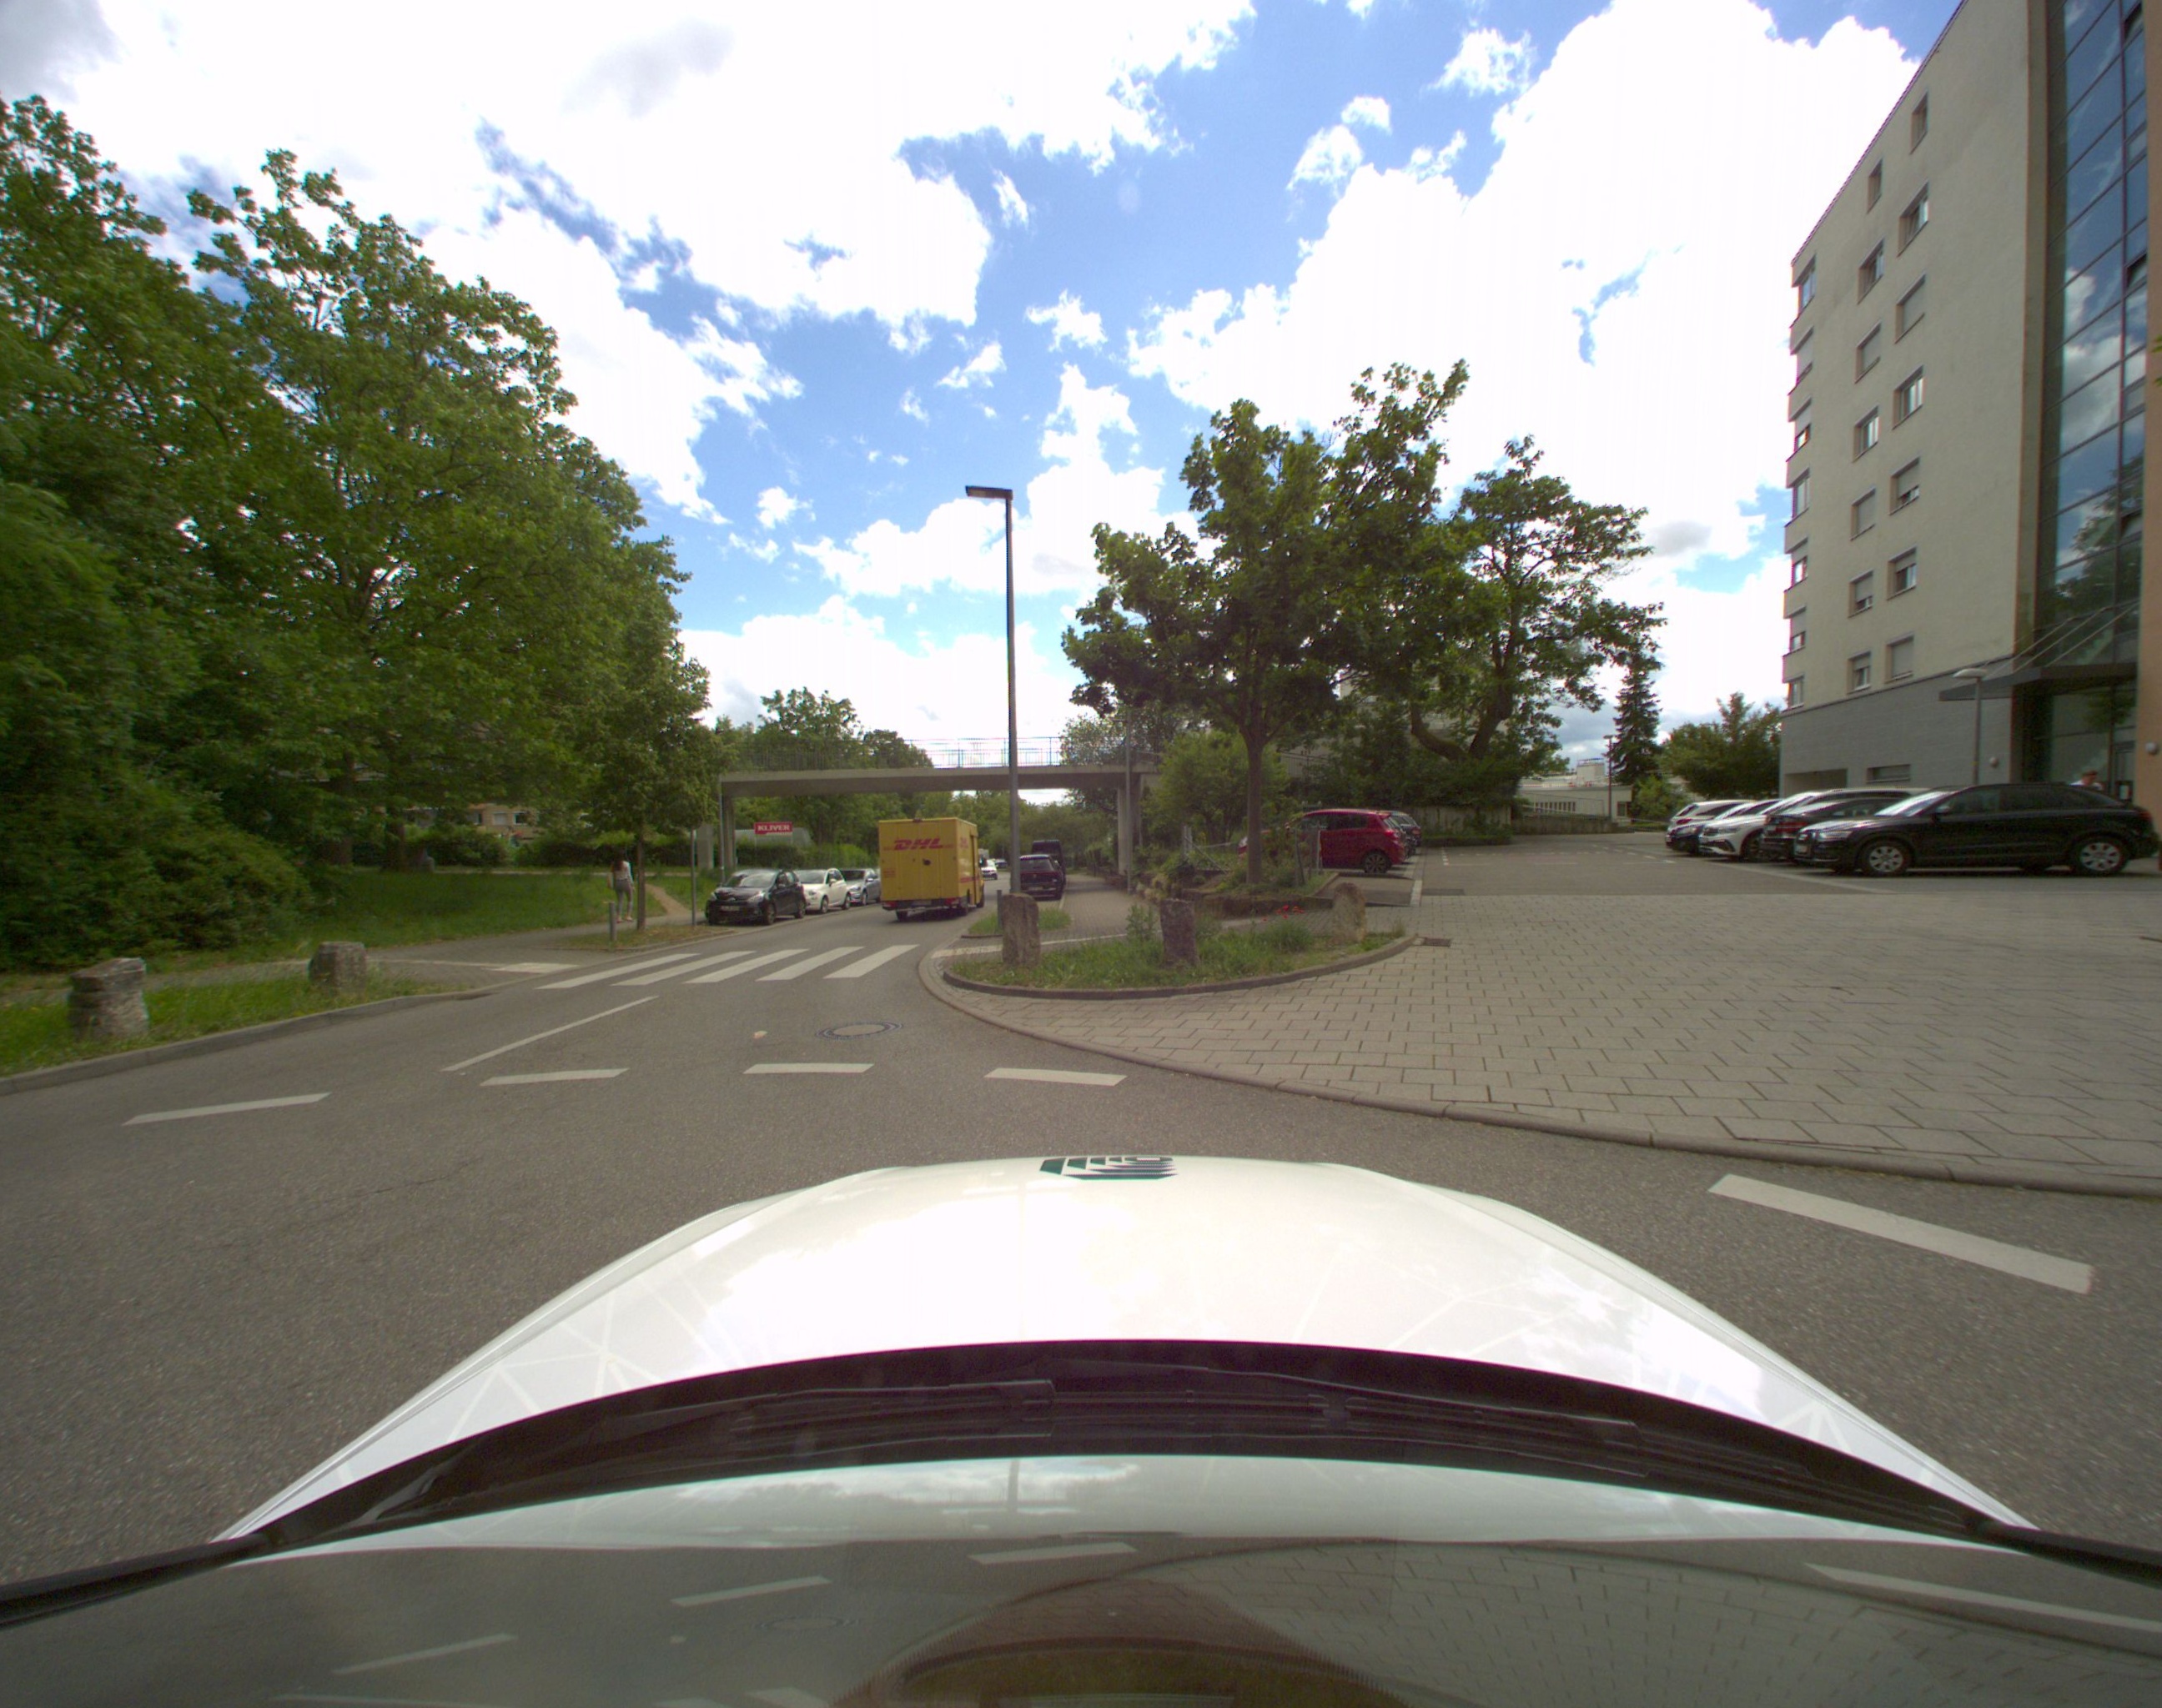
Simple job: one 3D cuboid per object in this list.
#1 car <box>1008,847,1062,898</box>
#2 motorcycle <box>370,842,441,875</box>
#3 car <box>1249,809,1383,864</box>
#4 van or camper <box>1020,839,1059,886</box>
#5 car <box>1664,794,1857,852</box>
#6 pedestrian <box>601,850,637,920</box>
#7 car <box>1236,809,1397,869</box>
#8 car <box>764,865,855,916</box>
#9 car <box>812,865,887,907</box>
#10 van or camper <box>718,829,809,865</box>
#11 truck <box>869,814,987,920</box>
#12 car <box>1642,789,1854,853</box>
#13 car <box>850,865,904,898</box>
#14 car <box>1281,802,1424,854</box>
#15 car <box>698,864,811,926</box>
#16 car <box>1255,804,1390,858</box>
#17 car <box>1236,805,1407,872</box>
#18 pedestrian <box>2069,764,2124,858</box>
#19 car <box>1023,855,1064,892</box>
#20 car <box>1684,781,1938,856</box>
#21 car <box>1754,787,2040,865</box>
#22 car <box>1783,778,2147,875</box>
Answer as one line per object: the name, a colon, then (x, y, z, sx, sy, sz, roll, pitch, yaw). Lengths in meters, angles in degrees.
car: (-1.702, 0.763, 30.433, 1.809, 1.679, 4.364, -2, -3, -3)
motorcycle: (-27.321, 0.173, 32.976, 0.877, 1.270, 2.055, 0, 1, 16)
car: (6.851, -0.477, 23.692, 3.619, 1.498, 1.693, 0, 1, 20)
van or camper: (-2.402, 0.500, 48.450, 1.988, 2.523, 5.467, -3, -1, -2)
car: (19.302, -0.852, 23.374, 3.944, 1.517, 1.767, 0, 1, 25)
pedestrian: (-11.601, 0.761, 20.464, 0.741, 1.721, 0.654, -1, 1, -29)
car: (5.978, -0.356, 20.642, 3.755, 1.421, 1.693, 0, 1, 20)
car: (-9.026, 1.180, 27.348, 1.879, 1.460, 3.545, -1, 1, -1)
car: (-9.125, 1.223, 32.418, 1.879, 1.427, 3.999, -1, 1, -1)
van or camper: (-19.434, -0.458, 50.035, 4.849, 2.086, 1.996, -1, 1, -7)
truck: (-4.354, 0.352, 24.479, 2.460, 2.702, 6.818, -1, 0, -2)
car: (17.355, -0.820, 21.454, 4.004, 1.517, 1.766, 0, 1, 25)
car: (-9.853, 1.292, 39.645, 1.881, 1.509, 4.444, -1, 0, -5)
car: (9.308, -0.875, 28.131, 4.507, 1.668, 1.954, 0, 1, 18)
car: (-9.073, 1.095, 22.961, 1.783, 1.468, 3.995, 1, 1, -4)
car: (7.679, -0.697, 25.920, 3.955, 1.613, 1.954, 0, 1, 18)
car: (5.561, -0.333, 18.812, 3.619, 1.439, 1.693, 0, 1, 20)
pedestrian: (20.321, -0.852, 16.299, 0.475, 1.852, 0.509, -1, 1, 12)
car: (-1.658, 0.848, 36.907, 1.695, 1.496, 4.115, -2, -1, -2)
car: (16.780, -0.772, 18.974, 4.086, 1.593, 1.701, 0, 1, 18)
car: (16.450, -0.525, 16.694, 3.792, 1.458, 1.702, 0, 1, 25)
car: (15.304, -0.441, 14.439, 4.004, 1.517, 1.766, 0, 1, 25)
